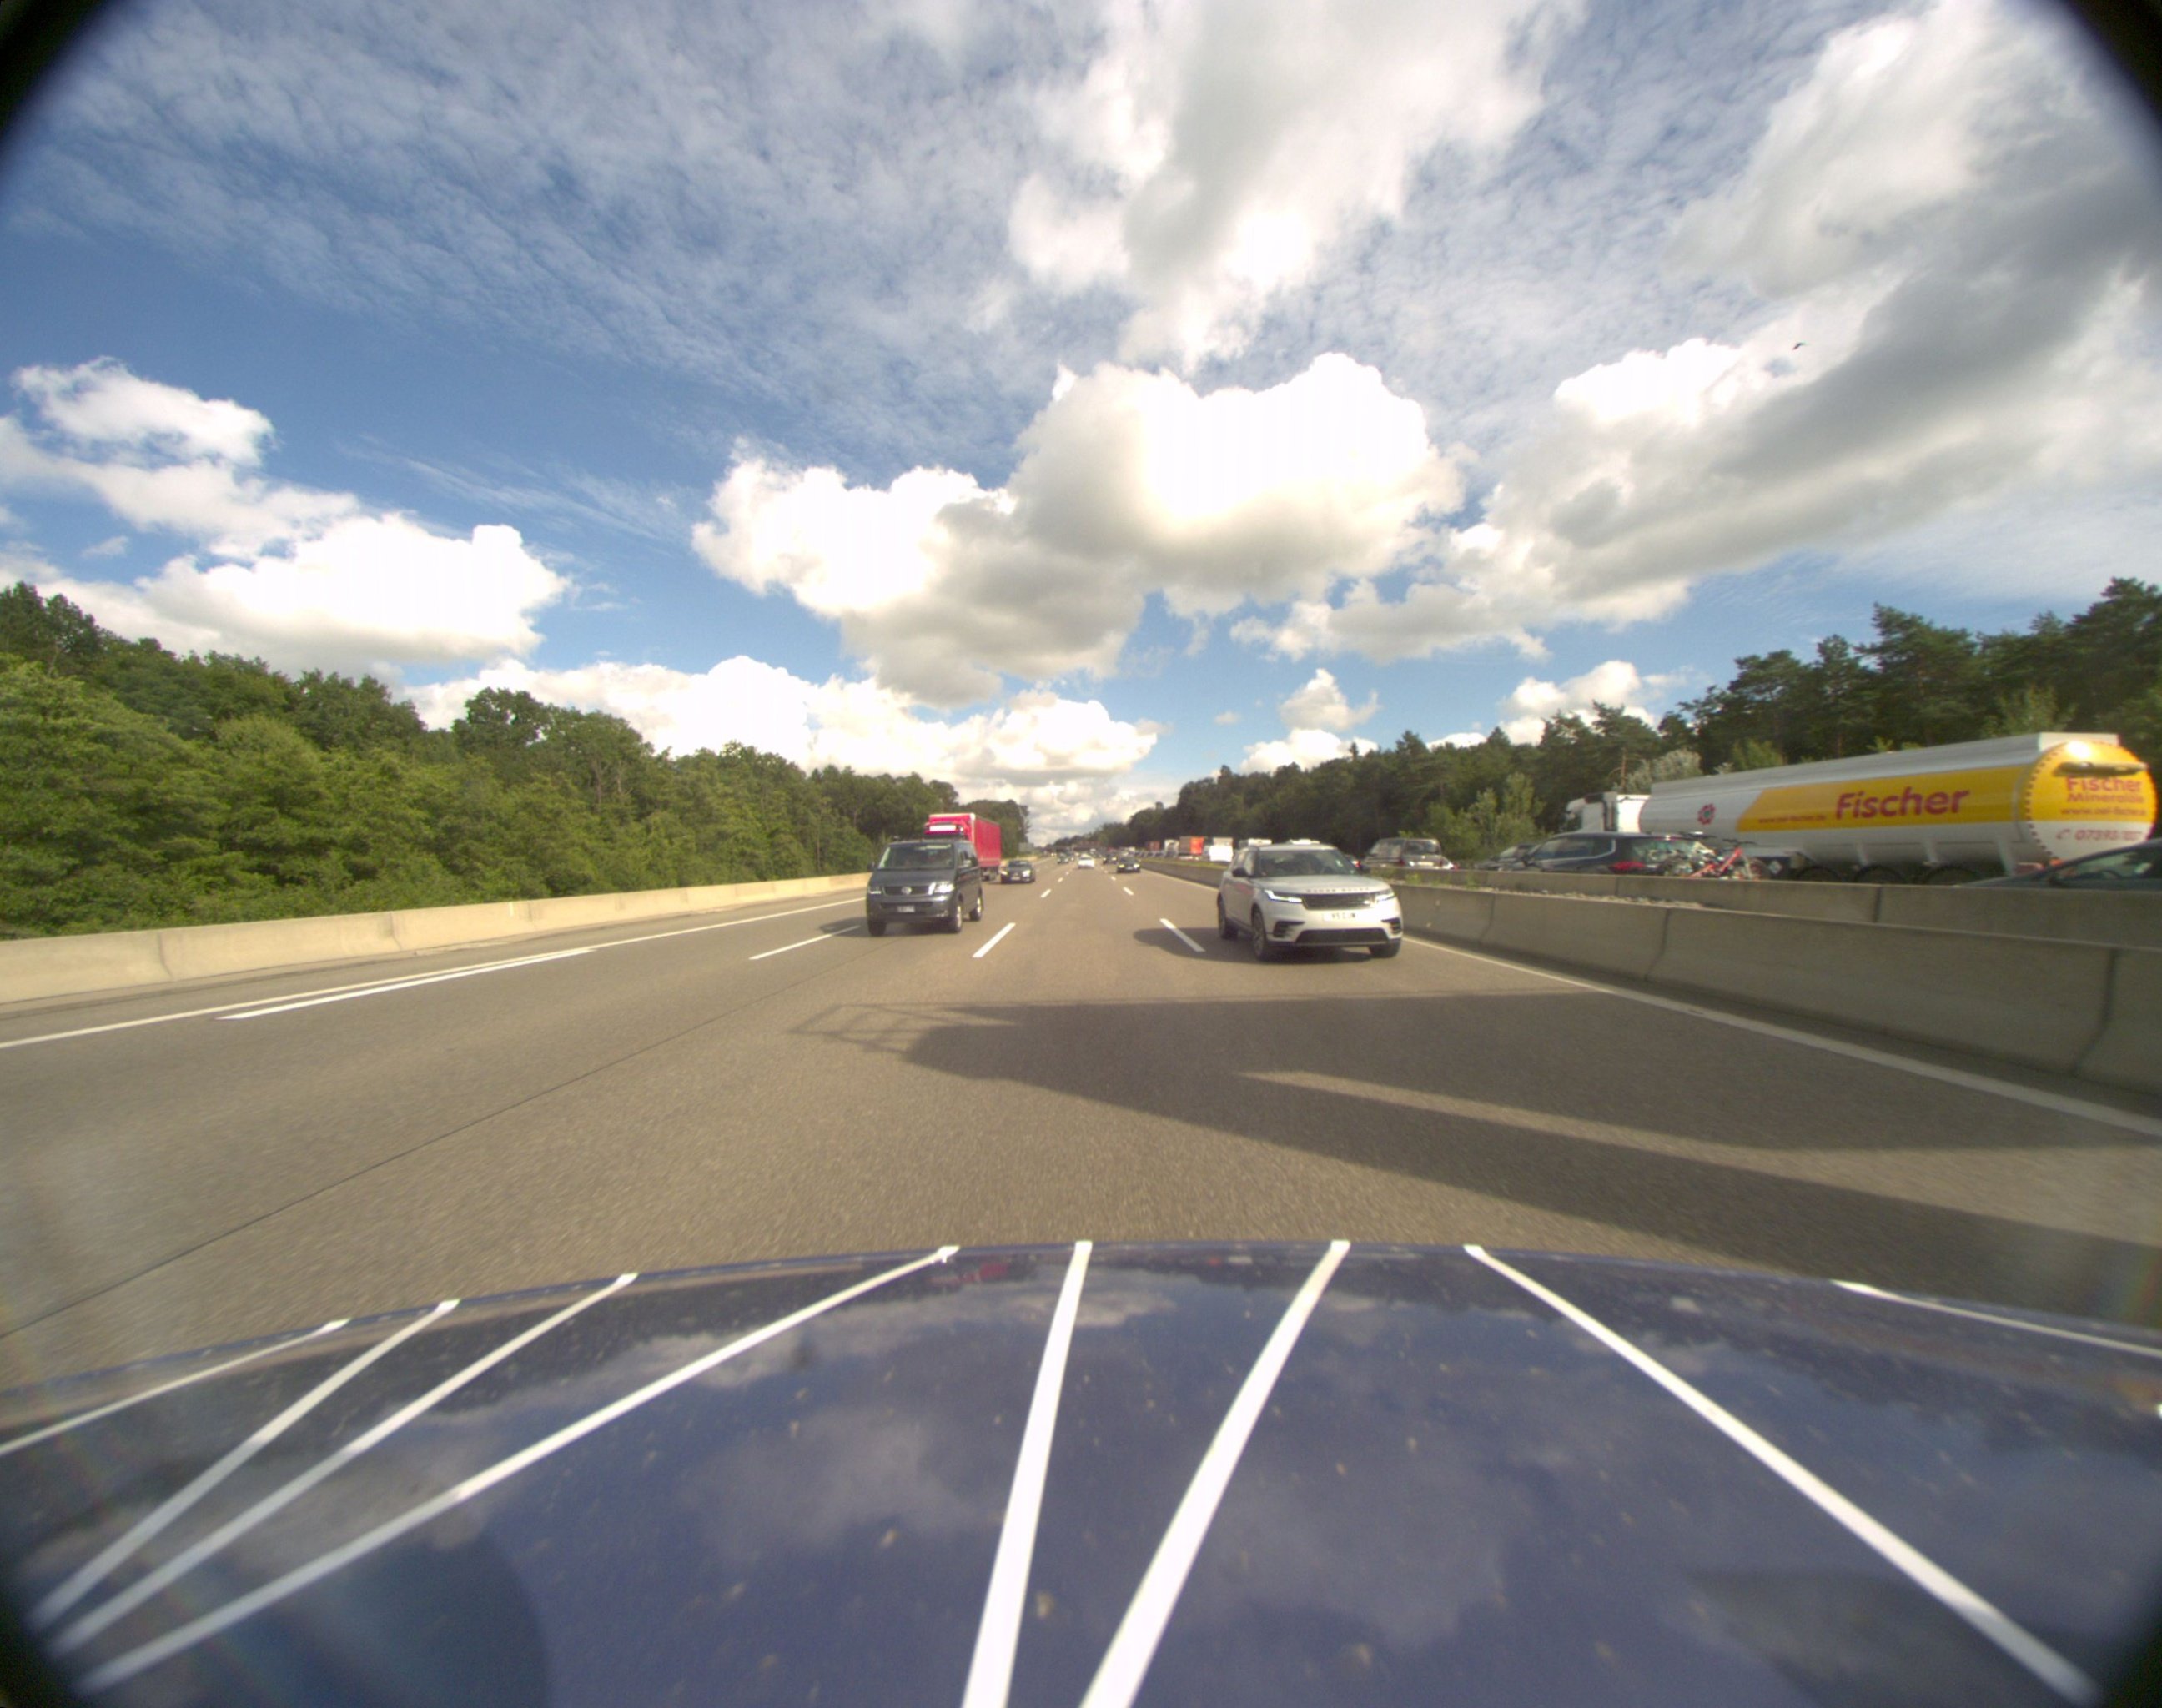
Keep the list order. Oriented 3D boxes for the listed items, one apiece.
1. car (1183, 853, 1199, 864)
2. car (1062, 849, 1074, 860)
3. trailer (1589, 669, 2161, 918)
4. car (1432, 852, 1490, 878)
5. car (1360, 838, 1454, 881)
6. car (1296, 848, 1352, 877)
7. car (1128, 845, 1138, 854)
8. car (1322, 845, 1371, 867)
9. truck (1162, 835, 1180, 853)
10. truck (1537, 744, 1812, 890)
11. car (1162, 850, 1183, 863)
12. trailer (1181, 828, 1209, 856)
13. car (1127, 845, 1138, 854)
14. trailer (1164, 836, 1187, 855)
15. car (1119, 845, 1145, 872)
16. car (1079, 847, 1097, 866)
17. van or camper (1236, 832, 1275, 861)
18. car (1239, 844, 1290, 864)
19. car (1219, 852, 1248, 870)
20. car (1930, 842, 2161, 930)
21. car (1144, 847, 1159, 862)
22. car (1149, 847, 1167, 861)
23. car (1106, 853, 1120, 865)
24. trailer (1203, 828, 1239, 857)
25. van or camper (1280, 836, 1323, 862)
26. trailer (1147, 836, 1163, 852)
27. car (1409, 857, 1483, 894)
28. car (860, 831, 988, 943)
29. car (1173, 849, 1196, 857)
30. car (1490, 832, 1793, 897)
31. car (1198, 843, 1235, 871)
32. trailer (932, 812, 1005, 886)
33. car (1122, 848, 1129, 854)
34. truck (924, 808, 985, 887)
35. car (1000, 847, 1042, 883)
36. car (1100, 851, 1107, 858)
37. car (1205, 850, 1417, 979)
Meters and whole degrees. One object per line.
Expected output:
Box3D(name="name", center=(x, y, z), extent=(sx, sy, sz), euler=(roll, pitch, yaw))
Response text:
Box3D(name="car", center=(14.446, 0.549, 100.084), extent=(1.637, 1.367, 3.323), euler=(0, 1, 0))
Box3D(name="car", center=(-2.161, 0.079, 128.606), extent=(1.911, 1.582, 4.286), euler=(-2, 1, -2))
Box3D(name="trailer", center=(18.293, -1.002, 18.137), extent=(3.420, 3.805, 13.260), euler=(-2, 0, 0))
Box3D(name="car", center=(27.002, 0.748, 54.198), extent=(1.837, 1.645, 4.481), euler=(-2, 0, 0))
Box3D(name="car", center=(14.073, 0.208, 33.157), extent=(2.013, 1.645, 4.782), euler=(-2, 0, 0))
Box3D(name="car", center=(14.120, 0.480, 44.389), extent=(1.837, 1.528, 4.242), euler=(-2, 0, 0))
Box3D(name="car", center=(10.833, -1.006, 158.573), extent=(1.821, 1.871, 4.902), euler=(-2, 1, 0))
Box3D(name="car", center=(17.857, 0.117, 51.354), extent=(1.703, 1.382, 4.434), euler=(-2, 0, 0))
Box3D(name="truck", center=(18.549, -2.063, 156.659), extent=(2.964, 3.725, 5.108), euler=(-2, 1, 0))
Box3D(name="truck", center=(18.381, -1.026, 24.302), extent=(3.425, 3.877, 6.801), euler=(-2, 0, 0))
Box3D(name="car", center=(10.731, 0.279, 89.653), extent=(1.837, 1.379, 4.902), euler=(-2, 1, 0))
Box3D(name="trailer", center=(18.606, -2.029, 124.991), extent=(2.646, 4.295, 13.174), euler=(-2, 1, 0))
Box3D(name="car", center=(10.759, -1.002, 158.533), extent=(1.821, 1.735, 4.902), euler=(-2, 1, 0))
Box3D(name="trailer", center=(18.508, -1.749, 149.910), extent=(2.957, 3.478, 12.229), euler=(-2, 1, 0))
Box3D(name="car", center=(4.185, 0.334, 62.856), extent=(1.919, 2.002, 4.000), euler=(-4, 1, 2))
Box3D(name="car", center=(0.820, 0.248, 86.298), extent=(1.998, 2.002, 4.000), euler=(-2, 0, 2))
Box3D(name="van or camper", center=(18.438, -0.839, 80.857), extent=(2.476, 2.873, 7.479), euler=(-2, 2, 1))
Box3D(name="car", center=(9.956, -0.021, 41.537), extent=(1.647, 0.934, 4.488), euler=(-2, 0, 0))
Box3D(name="car", center=(14.882, 0.636, 74.364), extent=(1.804, 1.622, 4.662), euler=(-3, 0, 1))
Box3D(name="car", center=(13.613, 0.377, 9.299), extent=(1.544, 0.999, 4.390), euler=(-2, 0, 1))
Box3D(name="car", center=(10.553, 0.050, 113.755), extent=(1.747, 2.002, 4.682), euler=(-2, 1, 1))
Box3D(name="car", center=(10.396, -0.025, 102.924), extent=(1.821, 1.754, 4.629), euler=(-2, 1, 0))
Box3D(name="car", center=(4.675, 0.740, 110.925), extent=(1.911, 1.582, 4.287), euler=(-2, 1, 0))
Box3D(name="trailer", center=(18.571, -1.548, 101.635), extent=(2.895, 3.638, 10.217), euler=(-1, 1, 0))
Box3D(name="van or camper", center=(18.111, -0.409, 62.607), extent=(2.289, 2.000, 4.688), euler=(-2, 0, 2))
Box3D(name="trailer", center=(19.115, -2.546, 197.766), extent=(2.957, 3.961, 12.889), euler=(-2, 1, 0))
Box3D(name="car", center=(17.938, 1.020, 37.532), extent=(1.837, 1.645, 3.698), euler=(-2, 0, 0))
Box3D(name="car", center=(-3.392, 0.657, 17.445), extent=(1.927, 2.153, 4.960), euler=(-1, 0, -1))
Box3D(name="car", center=(10.048, -0.134, 74.138), extent=(1.651, 0.720, 4.447), euler=(-2, 0, 0))
Box3D(name="car", center=(9.964, 0.147, 14.245), extent=(1.671, 0.922, 5.463), euler=(-2, 0, 1))
Box3D(name="car", center=(10.302, 0.207, 57.984), extent=(1.837, 2.050, 5.500), euler=(0, 0, 0))
Box3D(name="trailer", center=(-7.055, -0.370, 49.984), extent=(2.531, 4.096, 14.375), euler=(-2, 1, 0))
Box3D(name="car", center=(10.910, -0.742, 185.782), extent=(1.515, 1.552, 3.999), euler=(-2, 1, -1))
Box3D(name="truck", center=(-7.073, -0.376, 43.150), extent=(2.532, 4.178, 4.653), euler=(-2, 1, 0))
Box3D(name="car", center=(-3.563, 0.615, 45.986), extent=(1.998, 2.002, 4.000), euler=(-3, 1, 2))
Box3D(name="car", center=(5.904, 0.221, 200.877), extent=(1.804, 1.783, 3.758), euler=(-1, 0, 0))
Box3D(name="car", center=(3.375, 0.773, 12.316), extent=(1.904, 1.597, 5.105), euler=(-2, 0, 1))
